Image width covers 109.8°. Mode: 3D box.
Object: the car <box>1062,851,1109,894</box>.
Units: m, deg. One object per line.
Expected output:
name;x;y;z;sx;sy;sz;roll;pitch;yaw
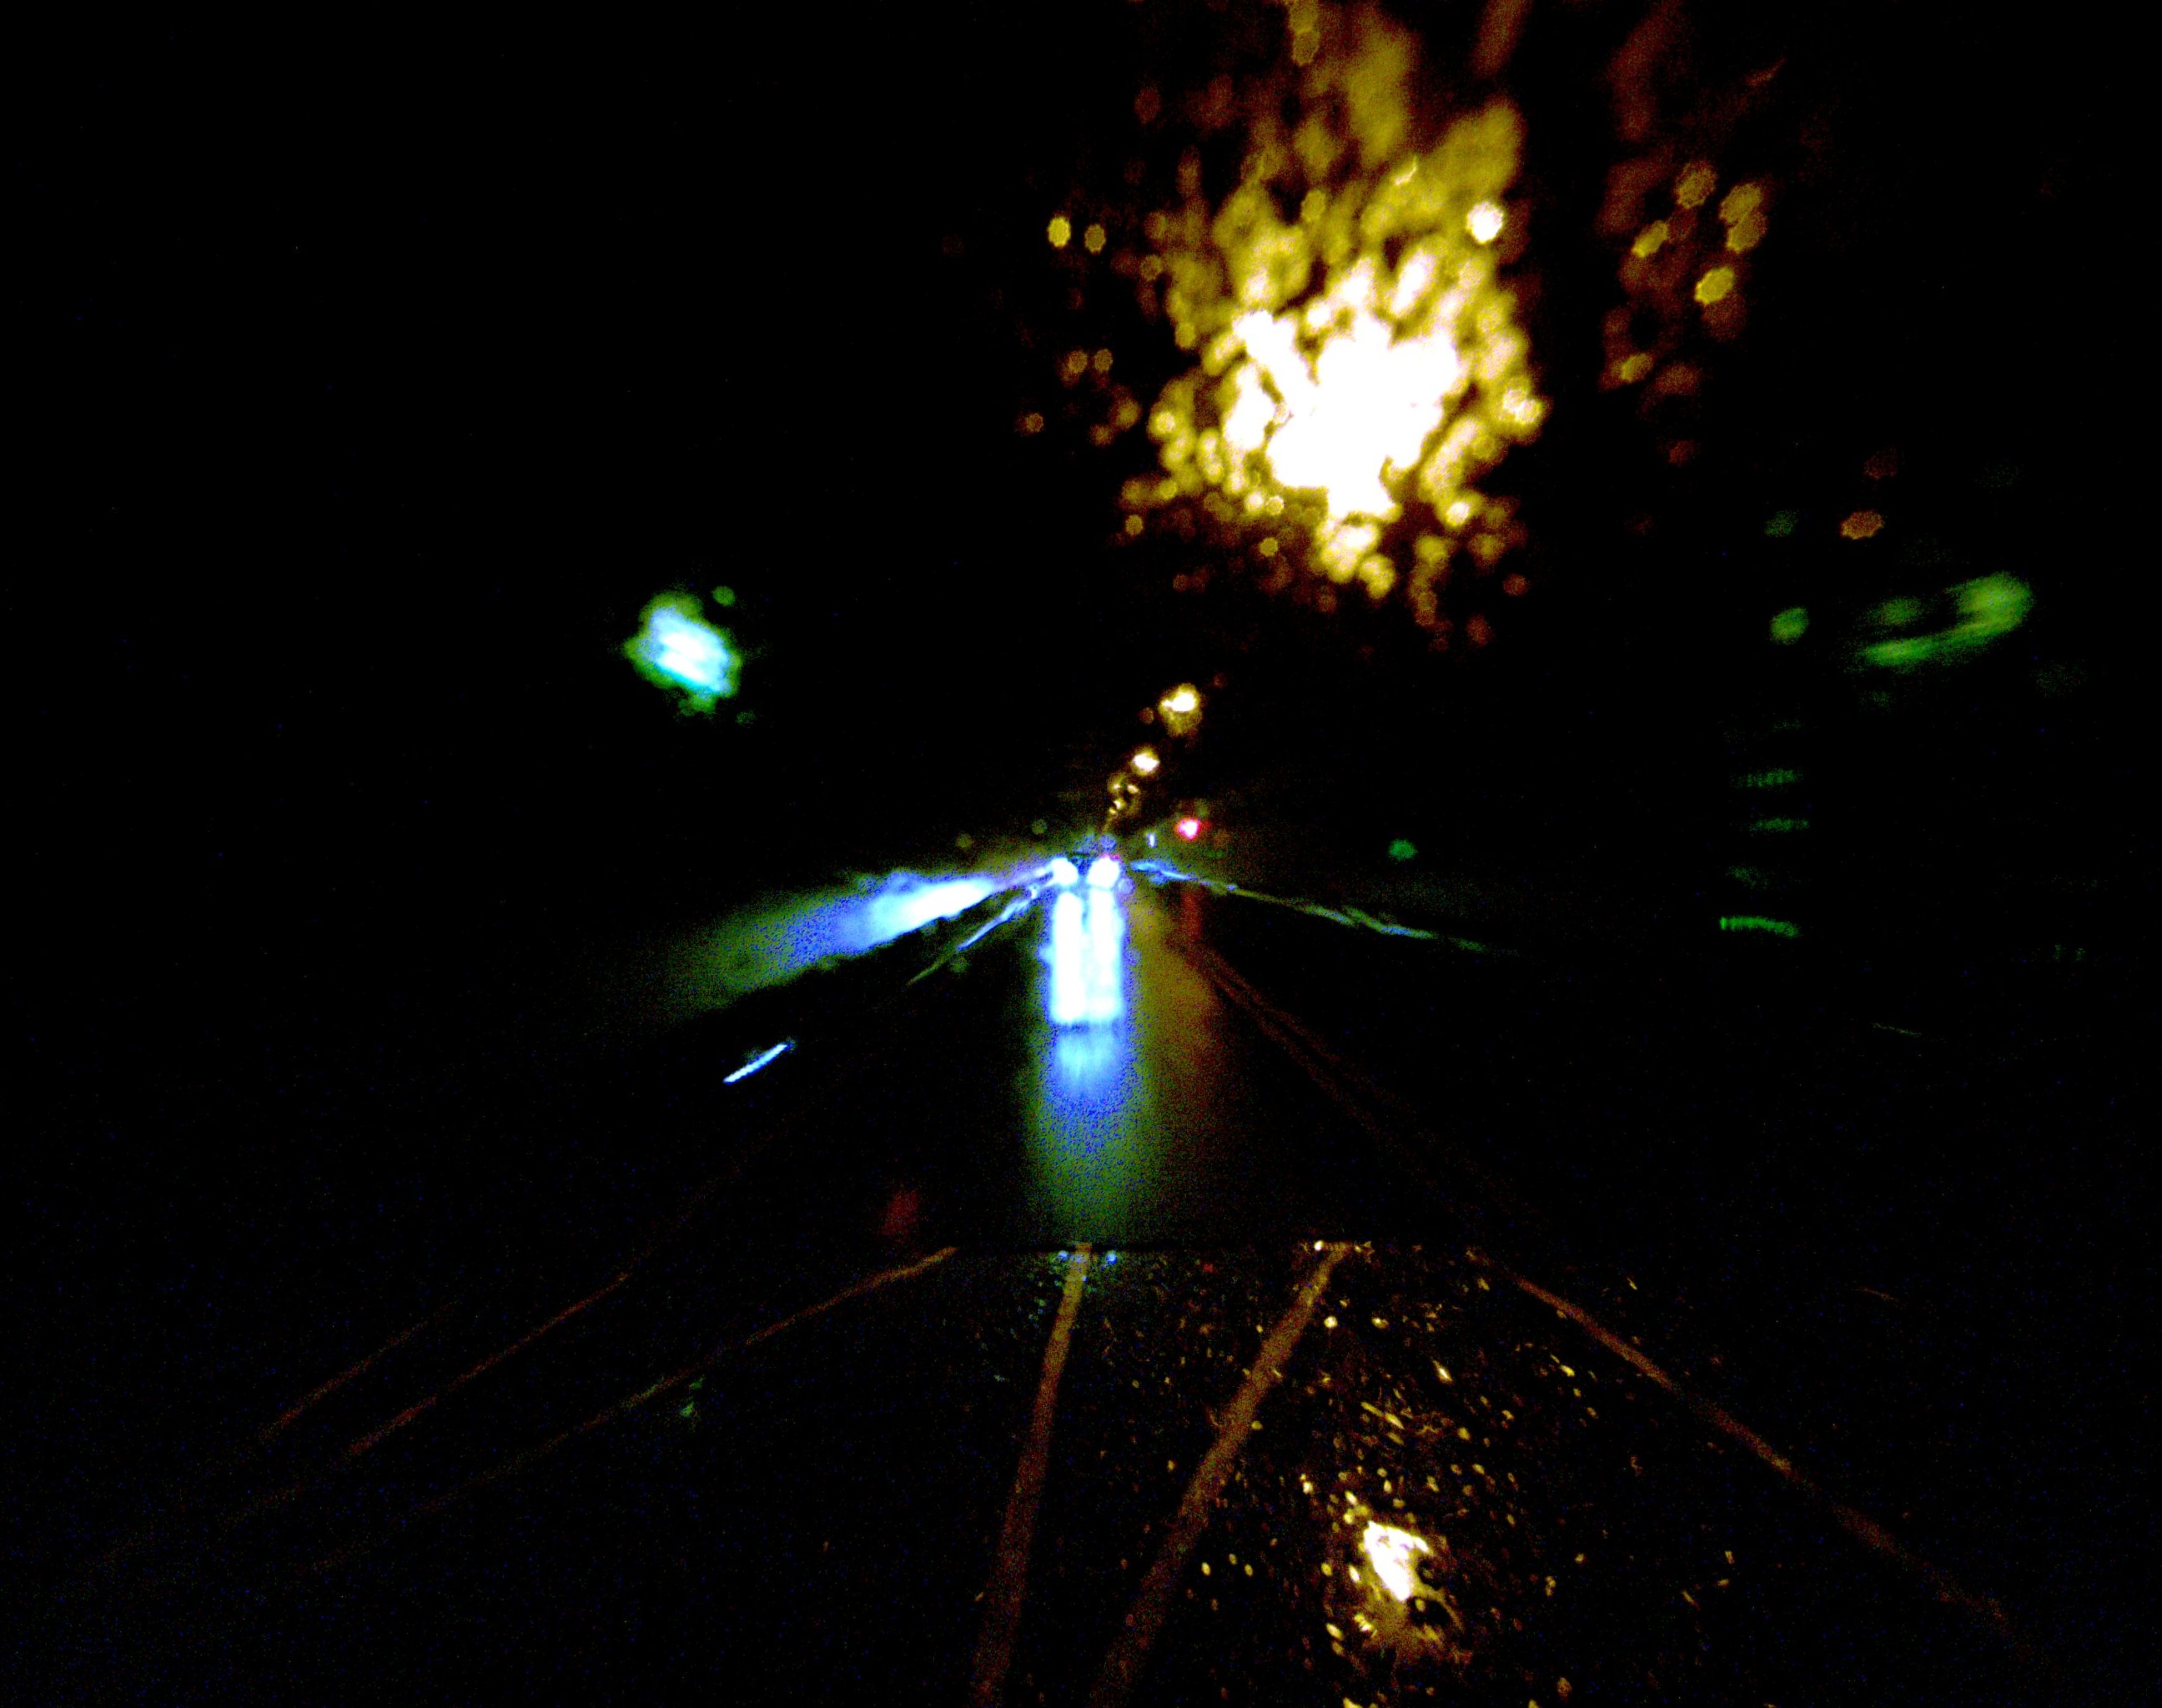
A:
car;0.216;0.730;32.098;1.829;1.650;3.929;0;1;1

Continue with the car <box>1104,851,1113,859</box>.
car;5.668;0.196;157.727;1.799;1.474;3.868;0;0;0

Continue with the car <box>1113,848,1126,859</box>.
car;5.751;-0.032;113.846;1.761;1.519;3.814;-2;0;1

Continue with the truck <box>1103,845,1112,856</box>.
truck;7.524;-1.085;214.203;2.285;2.999;6.593;-1;0;0
